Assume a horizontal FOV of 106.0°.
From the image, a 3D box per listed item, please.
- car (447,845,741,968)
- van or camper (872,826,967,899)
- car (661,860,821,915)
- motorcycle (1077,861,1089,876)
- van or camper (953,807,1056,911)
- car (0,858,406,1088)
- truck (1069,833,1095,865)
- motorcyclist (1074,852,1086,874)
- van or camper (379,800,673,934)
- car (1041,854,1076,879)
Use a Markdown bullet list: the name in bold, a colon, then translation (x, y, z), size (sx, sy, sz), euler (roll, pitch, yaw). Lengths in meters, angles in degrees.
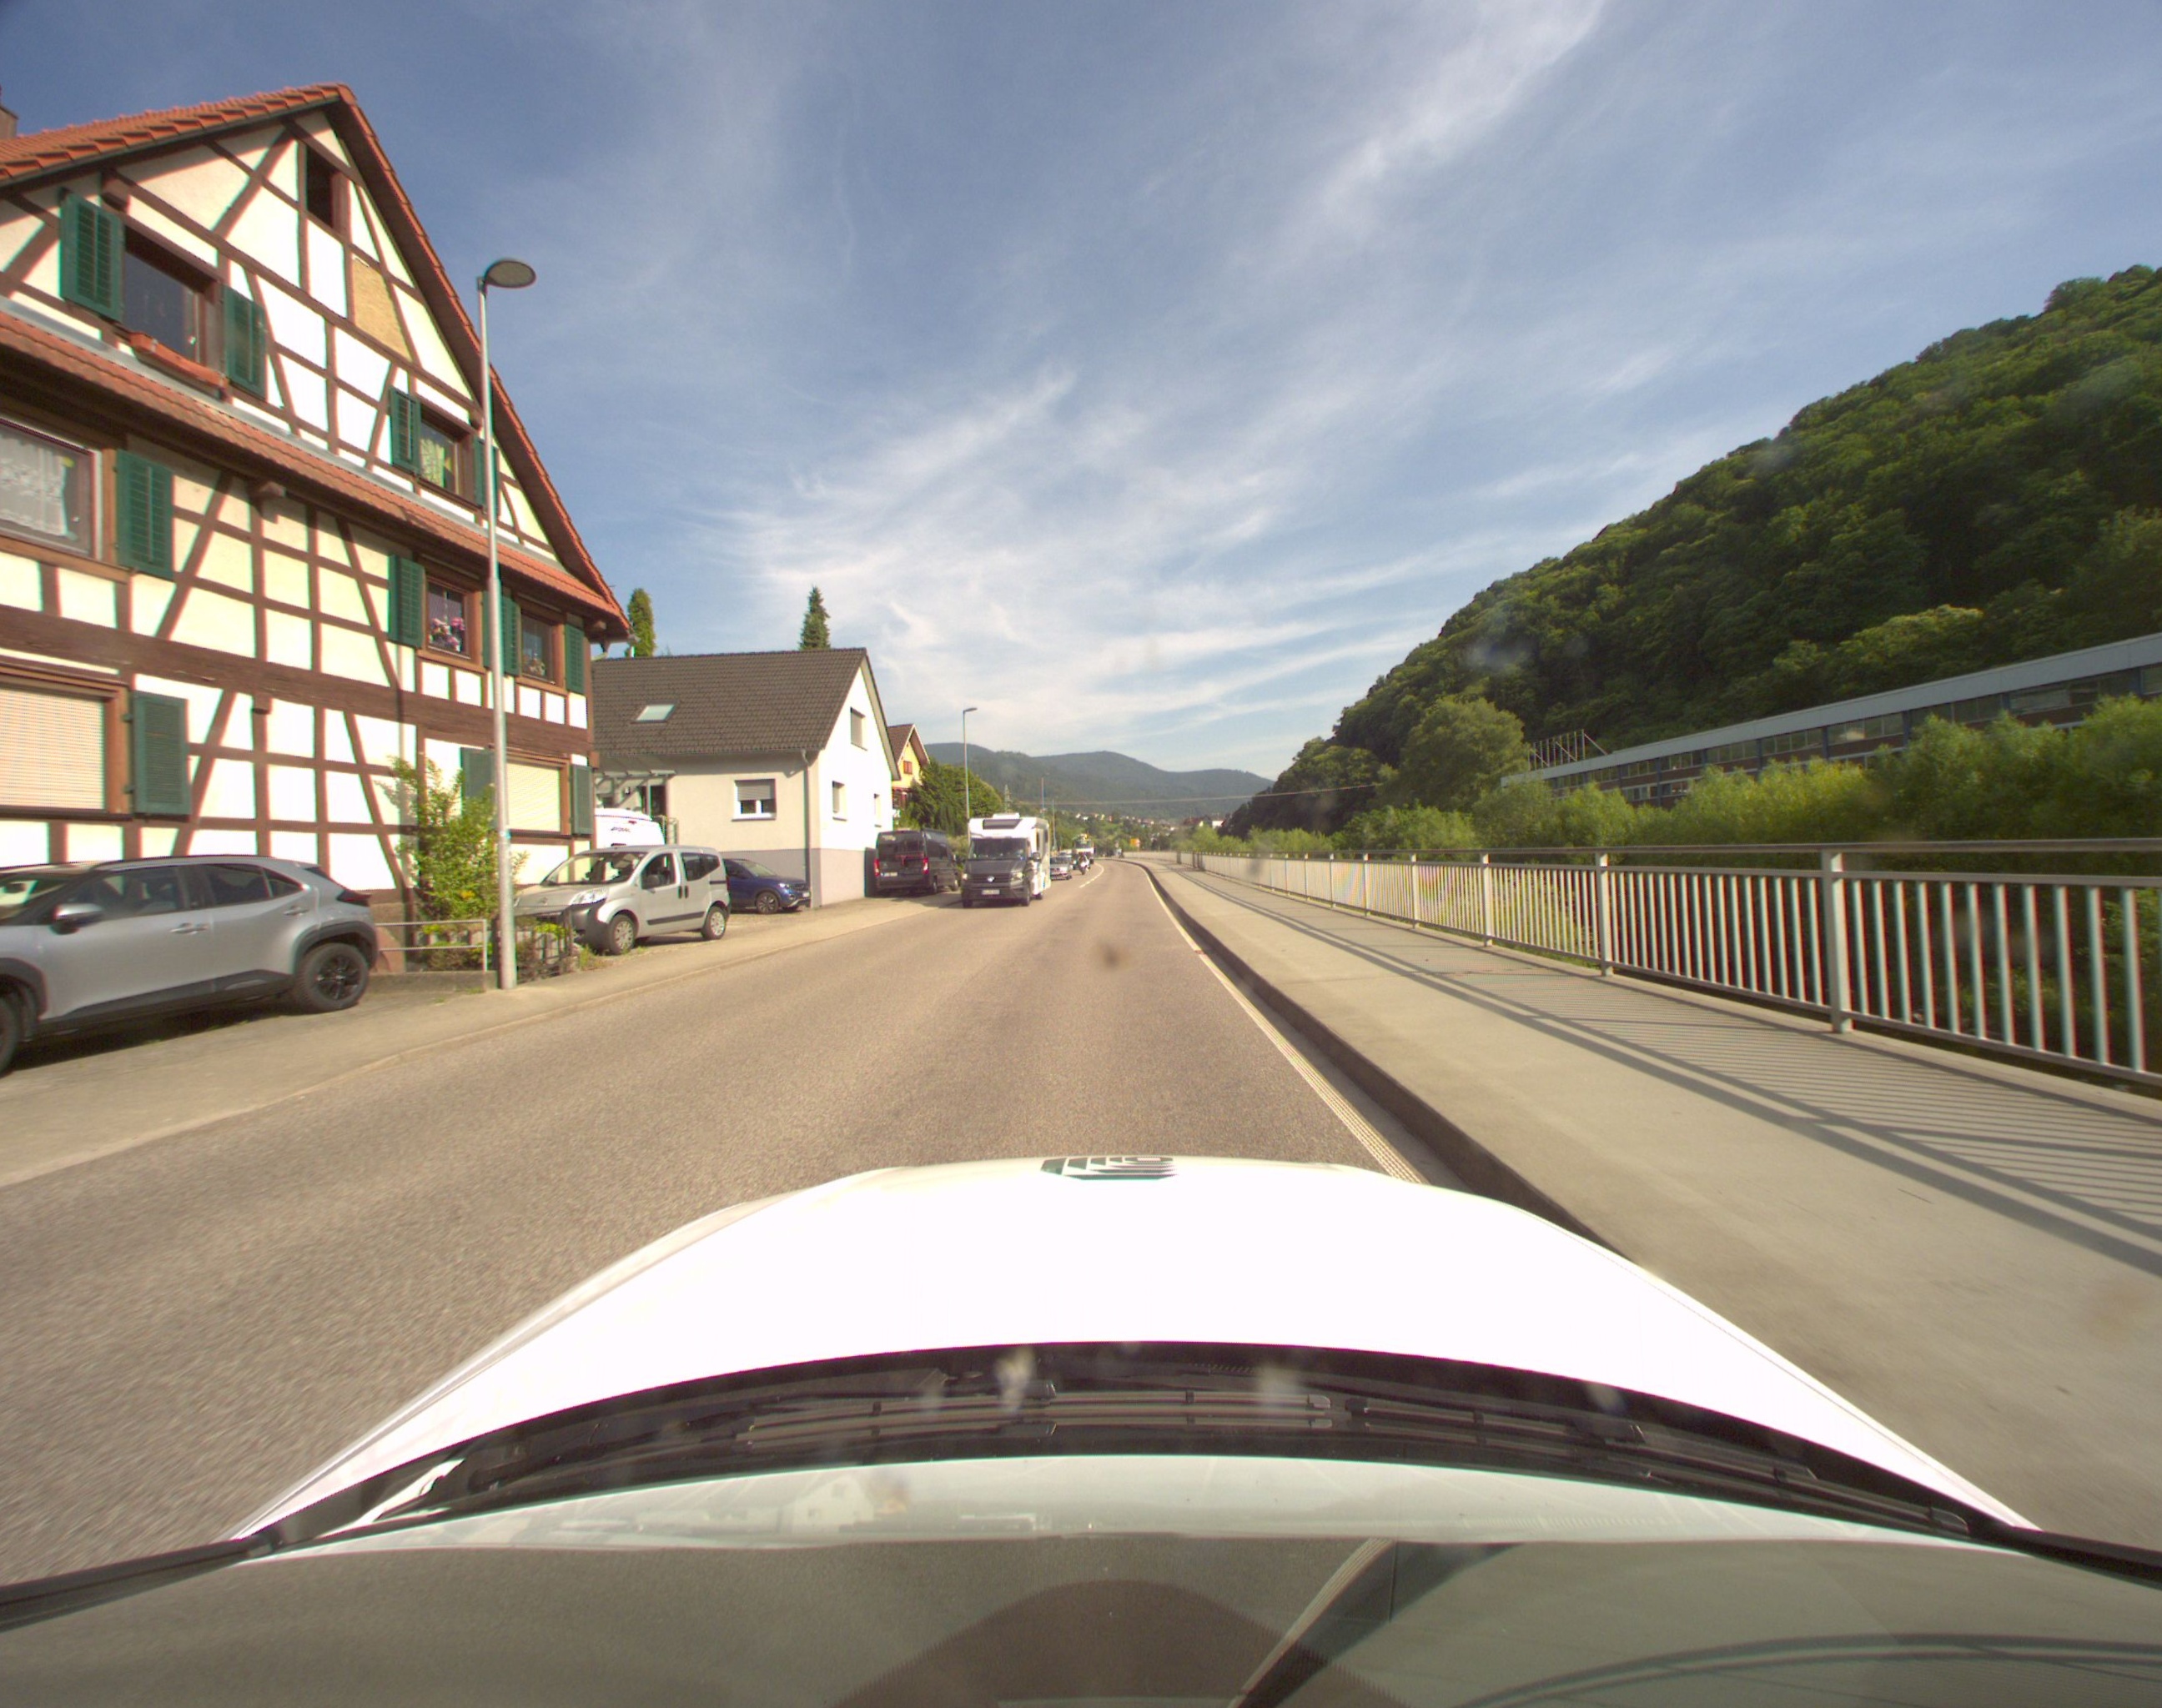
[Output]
- **car**: translation (-7.626, 0.738, 13.365), size (1.891, 1.664, 4.275), euler (-1, 0, 7)
- **van or camper**: translation (-6.264, 0.302, 32.469), size (2.138, 2.555, 5.908), euler (-2, 0, 4)
- **car**: translation (-9.974, 0.959, 24.101), size (3.902, 1.550, 1.908), euler (0, 0, 2)
- **motorcycle**: translation (0.184, 1.055, 61.264), size (0.650, 1.068, 2.185), euler (-2, 0, 6)
- **van or camper**: translation (-2.310, 0.144, 26.891), size (2.185, 2.938, 7.134), euler (-1, 0, 4)
- **car**: translation (-8.216, 0.861, 6.620), size (1.877, 1.519, 4.096), euler (-3, 0, 2)
- **truck**: translation (0.072, -0.594, 107.465), size (2.572, 3.931, 11.292), euler (-3, 0, -3)
- **motorcyclist**: translation (-0.069, 0.663, 60.966), size (0.821, 1.558, 0.629), euler (-2, -1, 6)
- **van or camper**: translation (-11.917, 0.290, 17.644), size (5.144, 2.663, 2.198), euler (-1, 0, 10)
- **car**: translation (-1.387, 0.748, 50.822), size (1.622, 1.485, 4.007), euler (-1, 0, 6)
